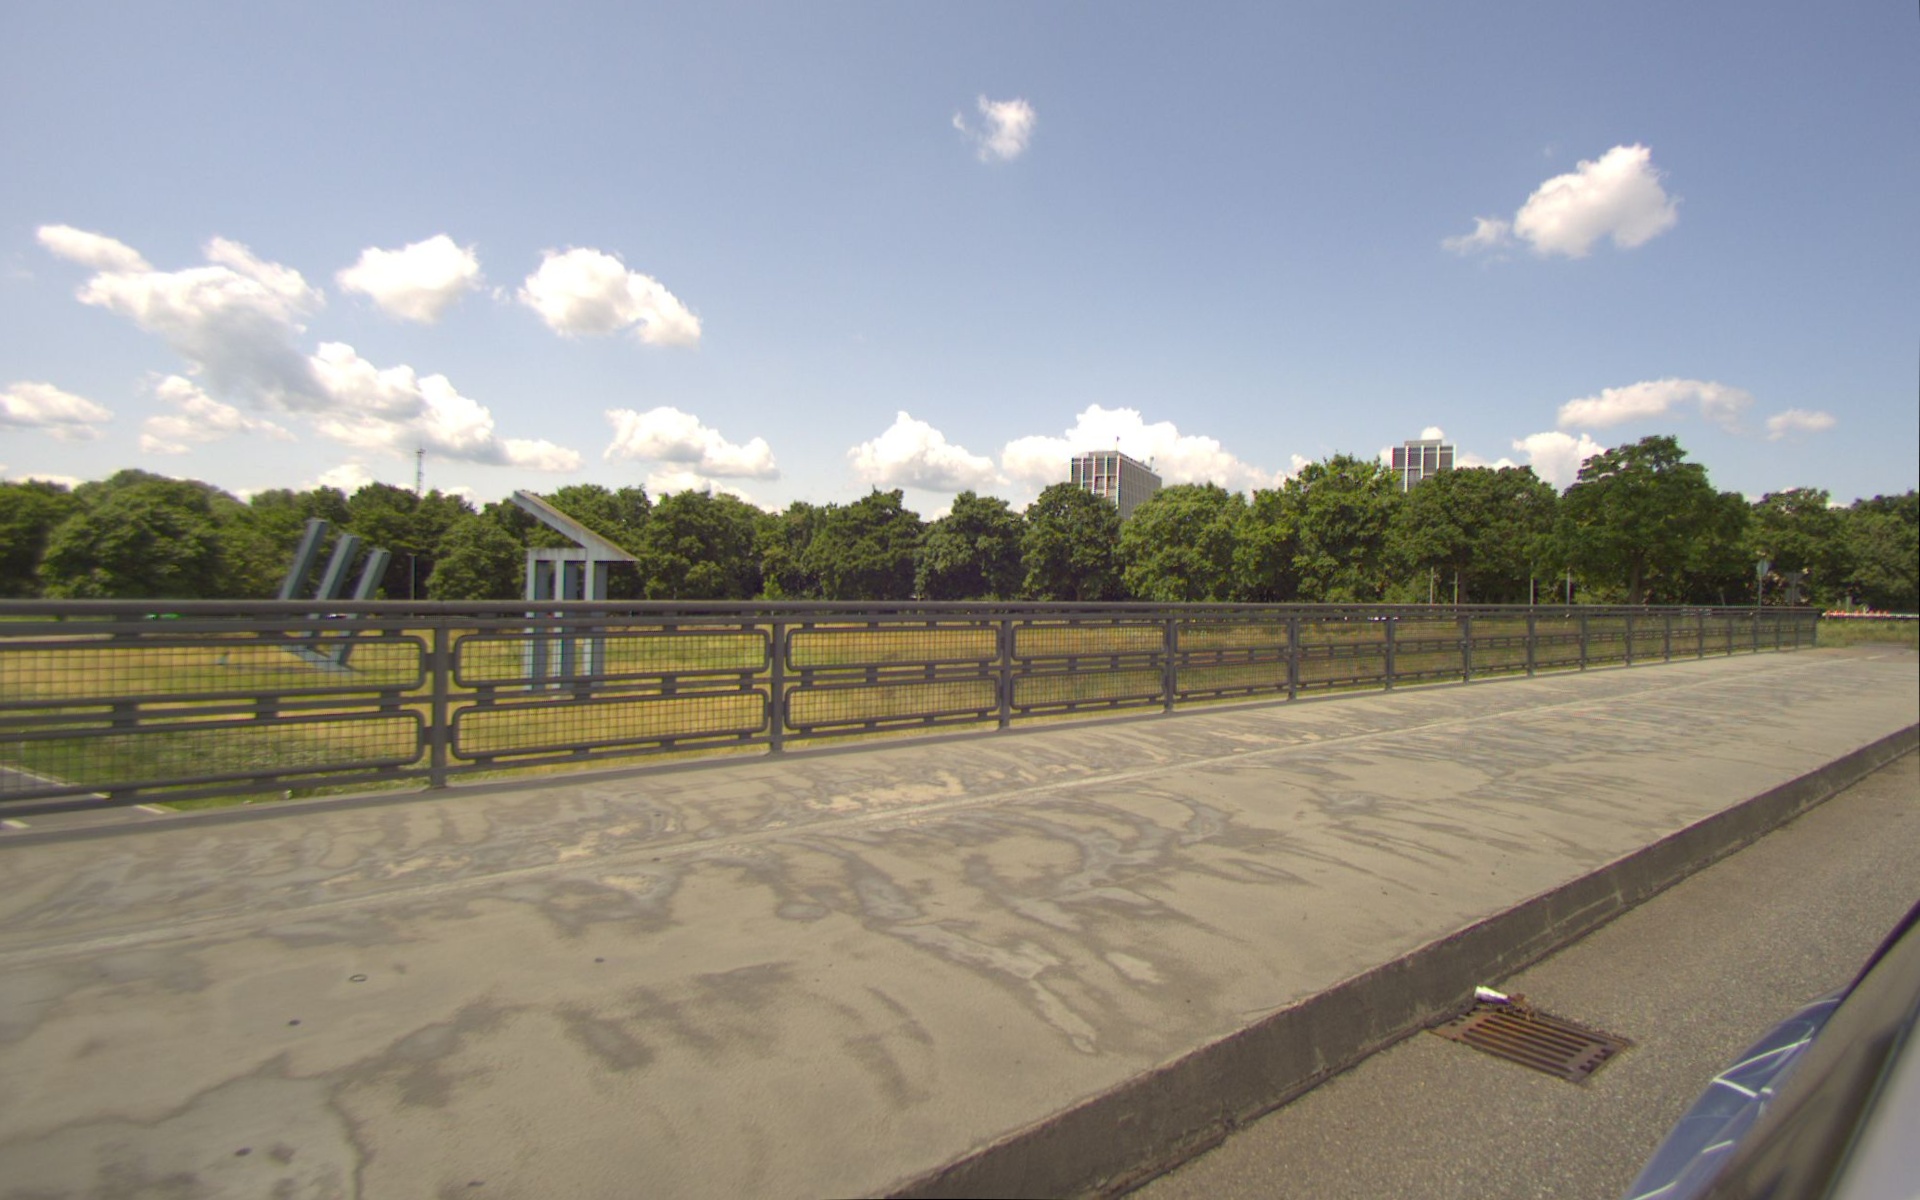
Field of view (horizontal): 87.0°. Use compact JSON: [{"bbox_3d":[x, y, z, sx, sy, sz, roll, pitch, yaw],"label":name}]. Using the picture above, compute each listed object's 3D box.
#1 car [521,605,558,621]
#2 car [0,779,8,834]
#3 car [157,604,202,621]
[{"bbox_3d":[-54.125,1.713,130.427,3.923,2.039,2.000,1,-1,-1],"label":"car"},{"bbox_3d":[-29.277,5.966,29.324,3.120,1.490,1.644,0,-1,30],"label":"car"},{"bbox_3d":[-91.740,1.472,119.012,3.918,1.906,2.002,1,-1,-28],"label":"car"}]
